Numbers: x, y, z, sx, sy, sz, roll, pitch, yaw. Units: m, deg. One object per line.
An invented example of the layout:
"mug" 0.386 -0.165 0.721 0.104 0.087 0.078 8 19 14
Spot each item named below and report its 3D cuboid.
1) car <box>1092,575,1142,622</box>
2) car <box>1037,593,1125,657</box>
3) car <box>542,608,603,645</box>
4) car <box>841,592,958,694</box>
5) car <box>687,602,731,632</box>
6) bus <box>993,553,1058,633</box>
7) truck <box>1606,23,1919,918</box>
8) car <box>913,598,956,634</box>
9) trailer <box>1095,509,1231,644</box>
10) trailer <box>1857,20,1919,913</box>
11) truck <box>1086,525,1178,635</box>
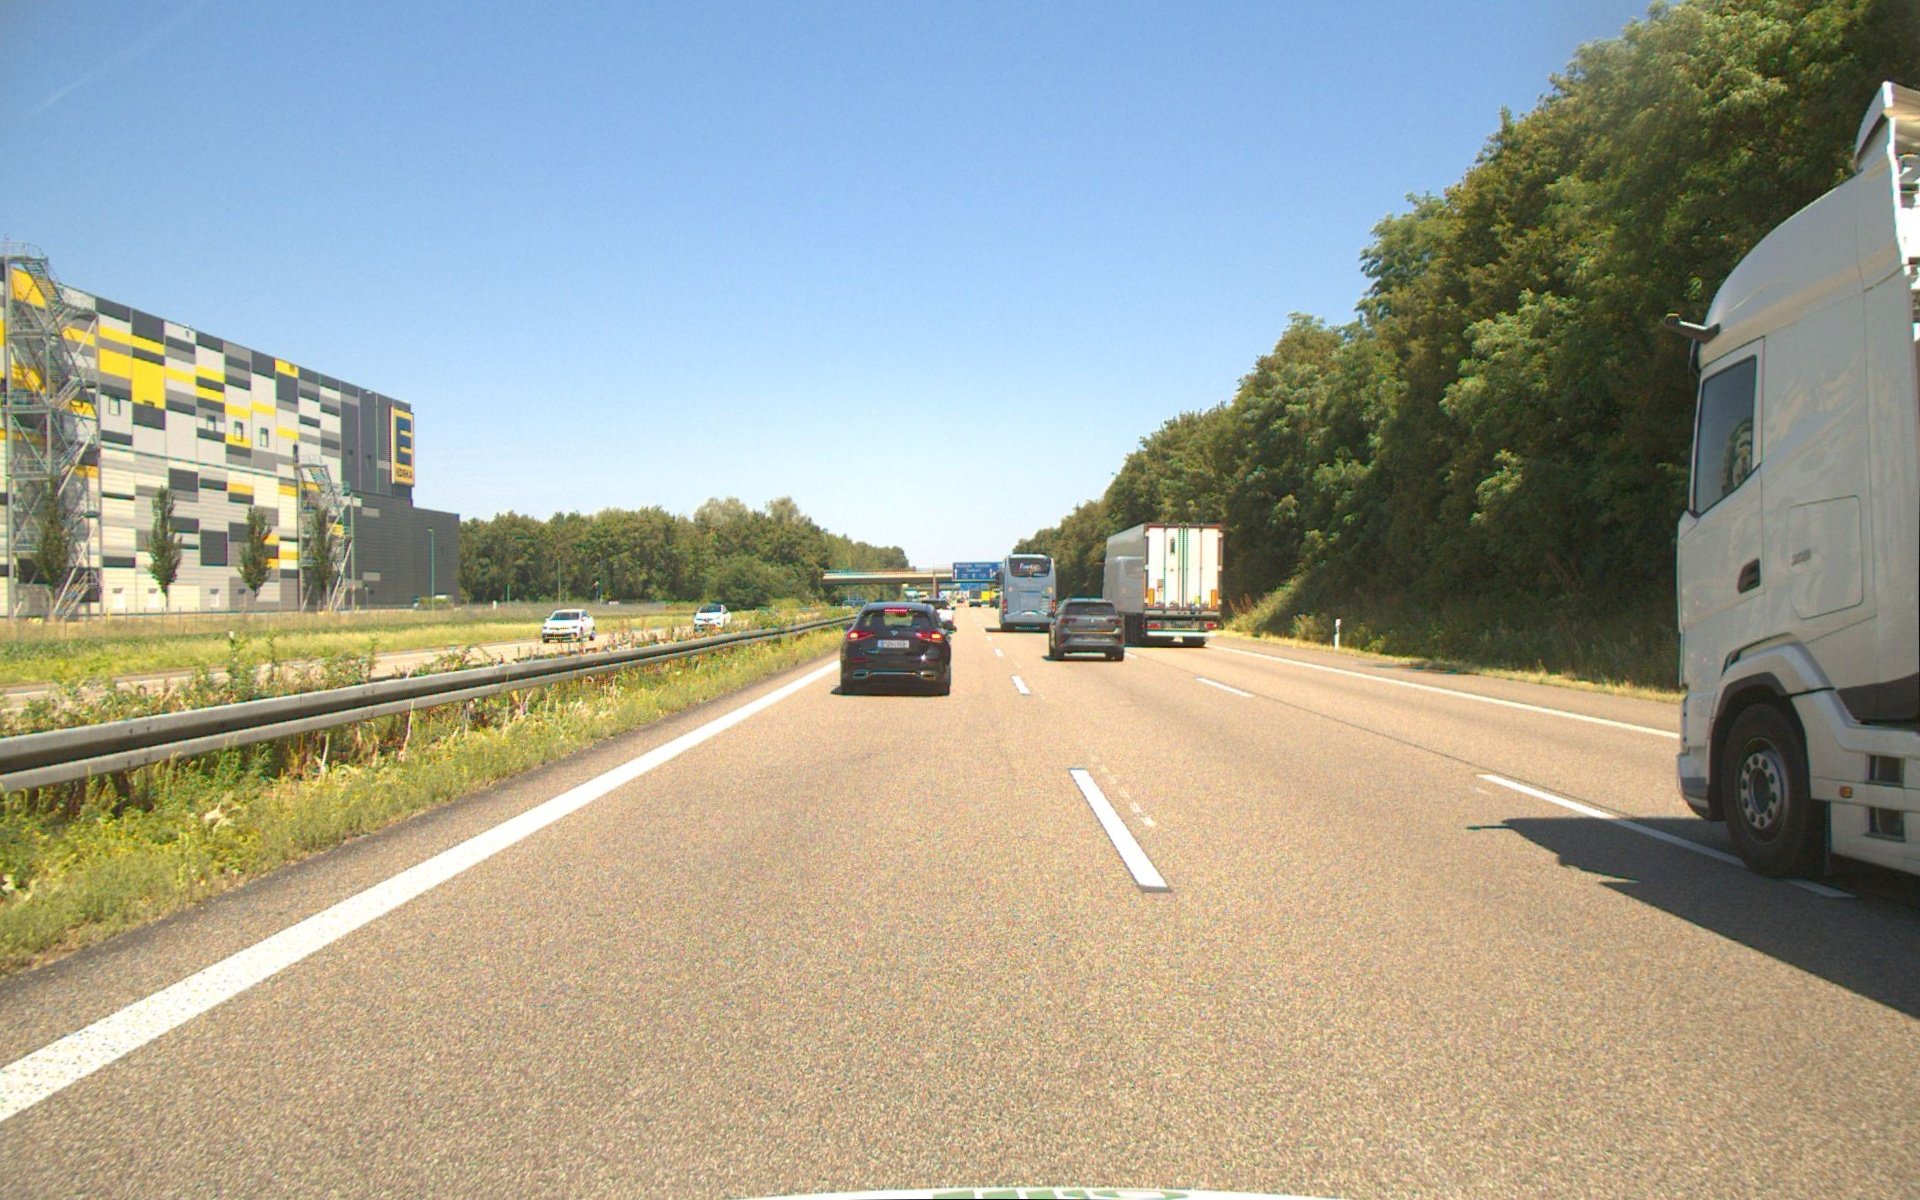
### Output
"car" 7.423 -0.070 78.615 1.861 2.157 4.240 1 0 -1
"car" 3.084 0.612 43.052 1.861 1.559 4.759 1 0 -1
"car" -17.625 1.180 75.407 1.763 1.559 4.631 -1 0 -1
"car" -0.951 0.650 27.264 1.763 1.528 4.240 1 0 -1
"car" -13.974 0.923 92.285 1.762 1.559 4.483 -1 0 0
"bus" 3.154 -0.307 82.689 2.745 3.659 12.473 0 0 0
"truck" 5.737 -0.596 8.157 2.623 4.141 6.047 1 0 -1
"car" -1.168 0.696 74.476 1.861 1.559 4.240 1 0 -1
"trailer" 7.127 -0.778 60.247 2.978 4.298 13.832 1 0 -1
"trailer" 5.869 -0.595 1.273 2.623 4.141 13.832 1 0 -1
"truck" 6.991 -0.804 68.044 2.985 4.289 6.047 1 0 -1
